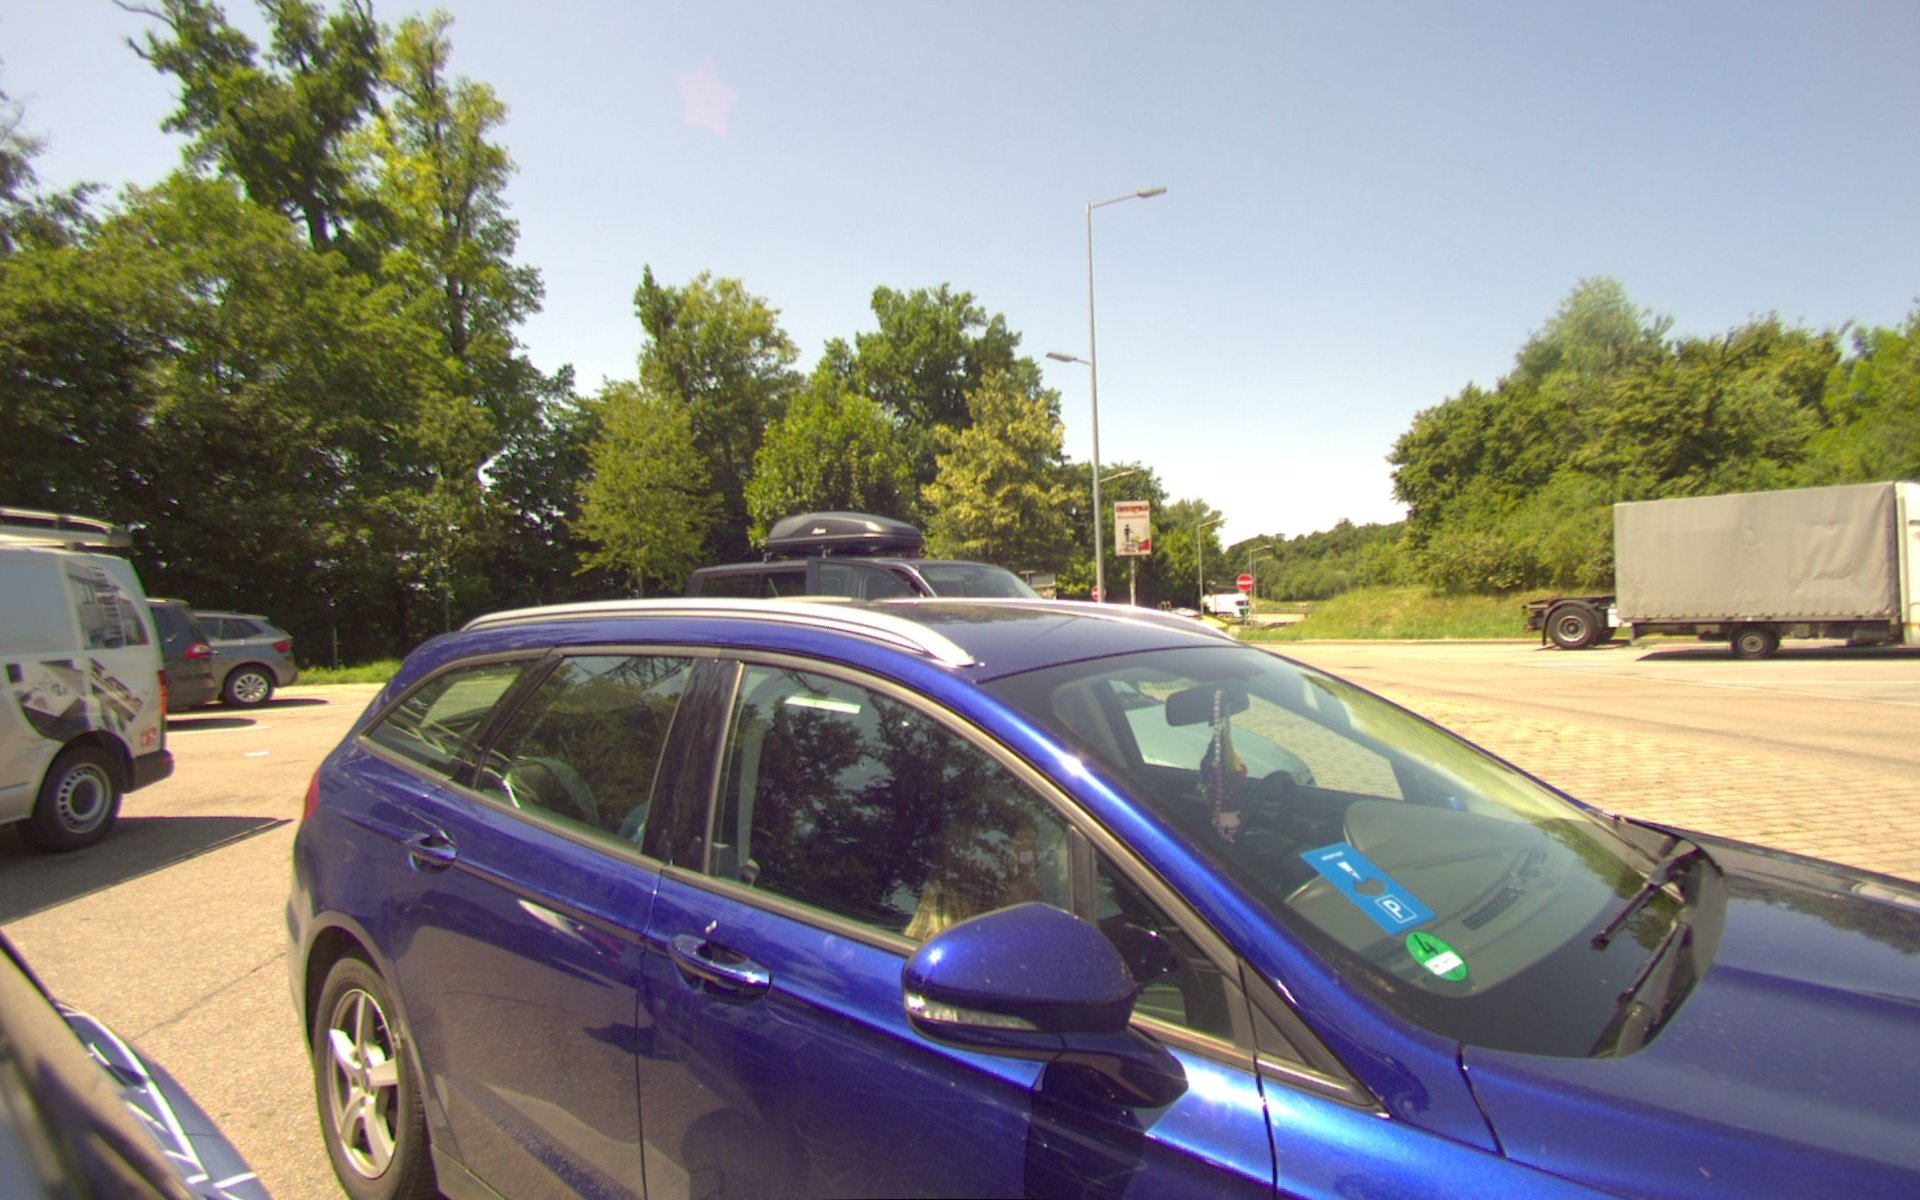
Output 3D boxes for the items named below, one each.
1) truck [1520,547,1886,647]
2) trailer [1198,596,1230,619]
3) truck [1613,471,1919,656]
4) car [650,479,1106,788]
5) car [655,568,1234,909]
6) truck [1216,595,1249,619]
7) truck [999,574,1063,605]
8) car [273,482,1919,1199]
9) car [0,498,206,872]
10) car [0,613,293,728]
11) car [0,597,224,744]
[{"bbox_3d":[16.987,0.037,23.556,6.613,2.029,1.973,-2,-1,41],"label":"truck"},{"bbox_3d":[46.312,1.440,184.877,2.543,3.981,8.719,-1,-1,-7],"label":"trailer"},{"bbox_3d":[16.588,-0.612,18.750,7.253,3.175,2.148,-2,-1,41],"label":"truck"},{"bbox_3d":[-0.881,0.315,9.571,4.076,2.336,1.767,-2,-1,35],"label":"car"},{"bbox_3d":[-0.237,0.593,5.609,3.112,1.370,1.326,-2,-1,41],"label":"car"},{"bbox_3d":[47.388,1.305,176.242,2.543,4.045,8.564,-1,-1,-7],"label":"truck"},{"bbox_3d":[3.423,-0.473,48.814,2.866,1.386,1.158,-2,-1,22],"label":"truck"},{"bbox_3d":[0.258,0.665,2.088,4.411,1.429,1.721,-2,-1,41],"label":"car"},{"bbox_3d":[-6.261,0.468,4.716,1.816,2.121,5.440,0,-1,-5],"label":"car"},{"bbox_3d":[-12.572,0.994,15.675,3.535,1.513,1.708,-1,0,-42],"label":"car"},{"bbox_3d":[-11.652,0.848,12.602,1.755,1.701,3.798,-2,-1,45],"label":"car"}]
